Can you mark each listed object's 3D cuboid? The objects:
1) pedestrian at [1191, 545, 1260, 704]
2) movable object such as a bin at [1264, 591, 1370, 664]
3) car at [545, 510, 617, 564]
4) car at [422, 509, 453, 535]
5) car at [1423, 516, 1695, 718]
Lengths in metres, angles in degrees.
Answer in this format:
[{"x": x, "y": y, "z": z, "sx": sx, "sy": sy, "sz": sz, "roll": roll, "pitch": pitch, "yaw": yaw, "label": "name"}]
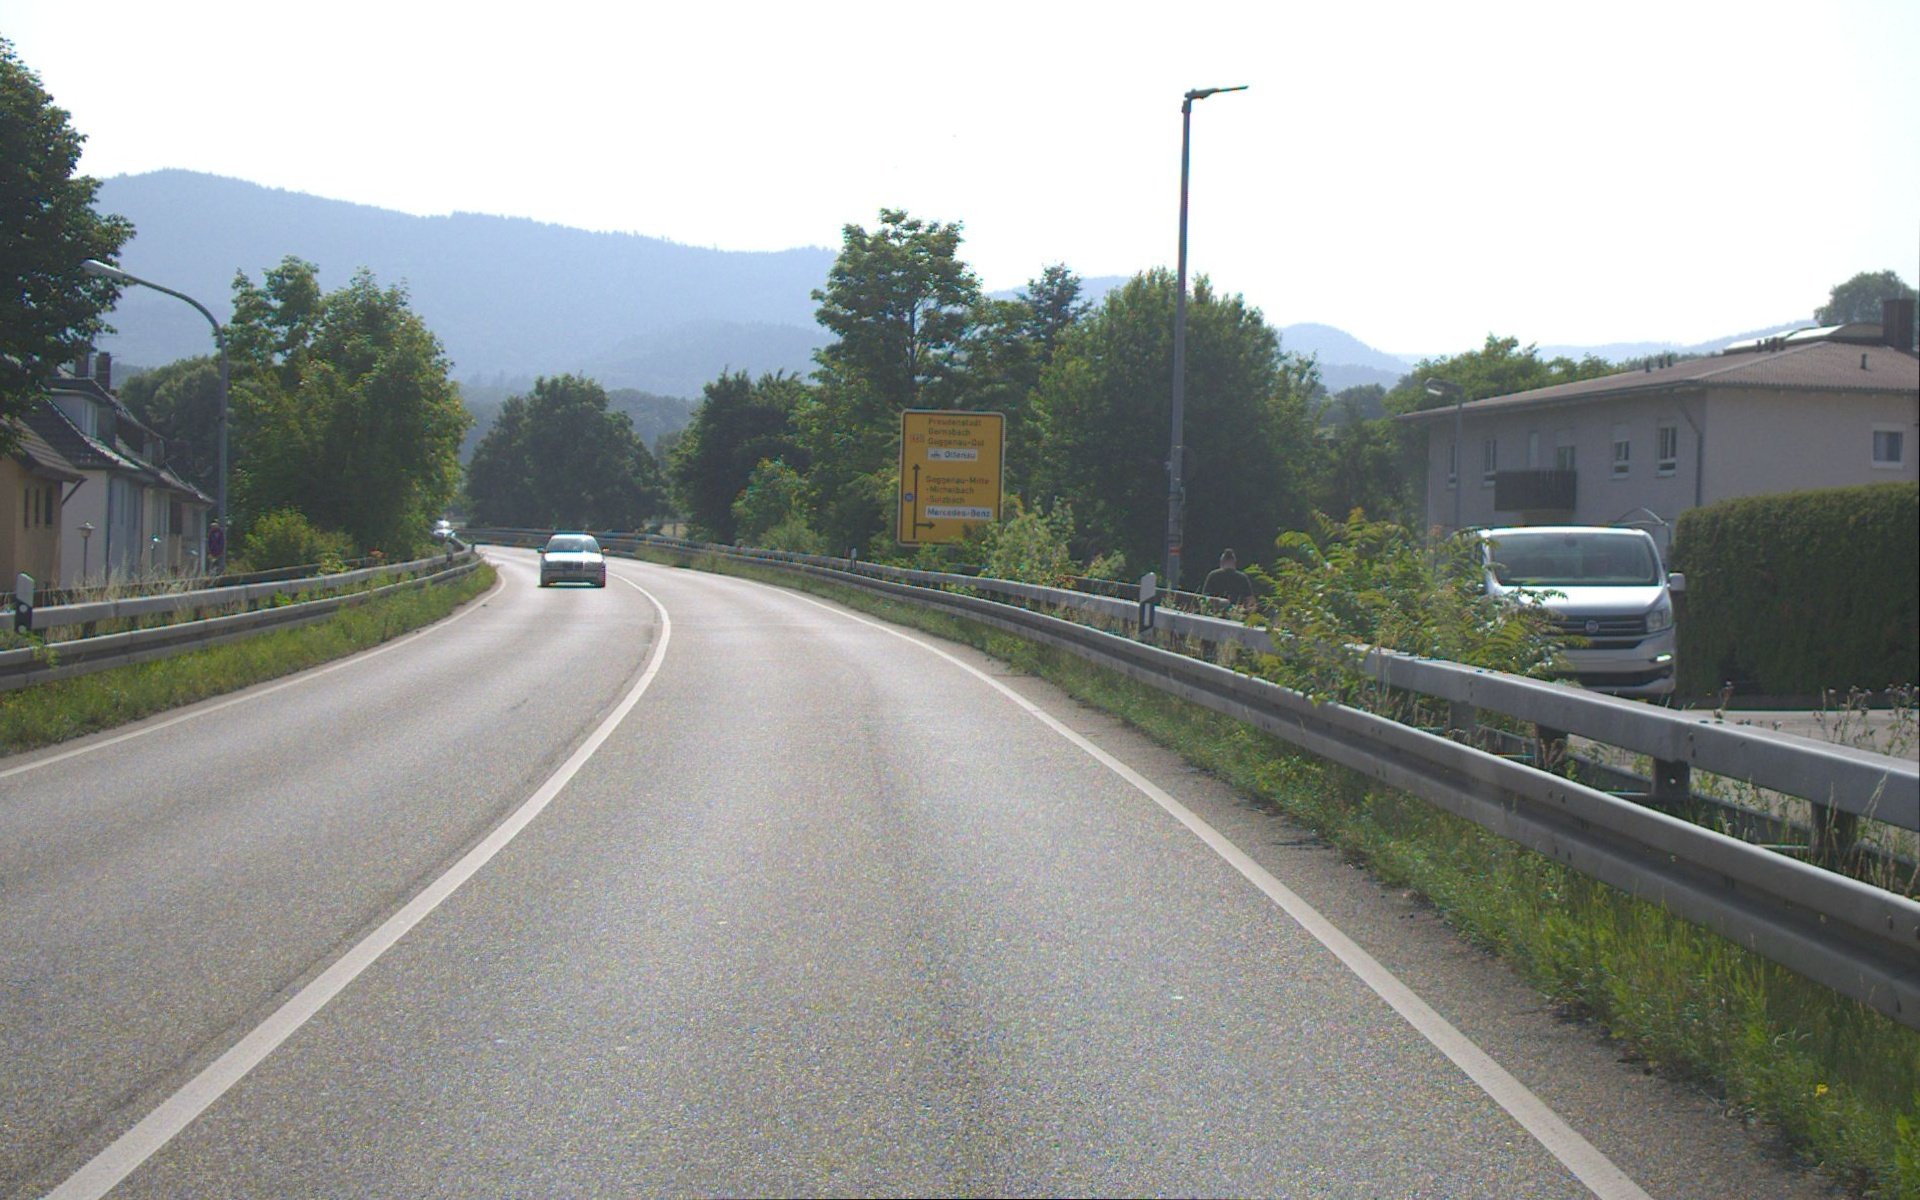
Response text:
[{"x": 3.415, "y": 0.306, "z": 44.308, "sx": 0.788, "sy": 2.007, "sz": 0.997, "roll": 1, "pitch": 1, "yaw": -1, "label": "pedestrian"}, {"x": 10.606, "y": 0.799, "z": 102.171, "sx": 2.783, "sy": 2.007, "sz": 1.588, "roll": 2, "pitch": 1, "yaw": -6, "label": "movable object such as a bin"}, {"x": -10.231, "y": -1.697, "z": 93.040, "sx": 1.758, "sy": 1.406, "sz": 3.990, "roll": -1, "pitch": 1, "yaw": -4, "label": "car"}, {"x": -31.576, "y": -4.721, "z": 207.884, "sx": 1.807, "sy": 1.555, "sz": 3.994, "roll": -1, "pitch": 1, "yaw": -8, "label": "car"}, {"x": 6.187, "y": 0.102, "z": 36.140, "sx": 1.993, "sy": 1.938, "sz": 5.361, "roll": 0, "pitch": 1, "yaw": 1, "label": "car"}]
